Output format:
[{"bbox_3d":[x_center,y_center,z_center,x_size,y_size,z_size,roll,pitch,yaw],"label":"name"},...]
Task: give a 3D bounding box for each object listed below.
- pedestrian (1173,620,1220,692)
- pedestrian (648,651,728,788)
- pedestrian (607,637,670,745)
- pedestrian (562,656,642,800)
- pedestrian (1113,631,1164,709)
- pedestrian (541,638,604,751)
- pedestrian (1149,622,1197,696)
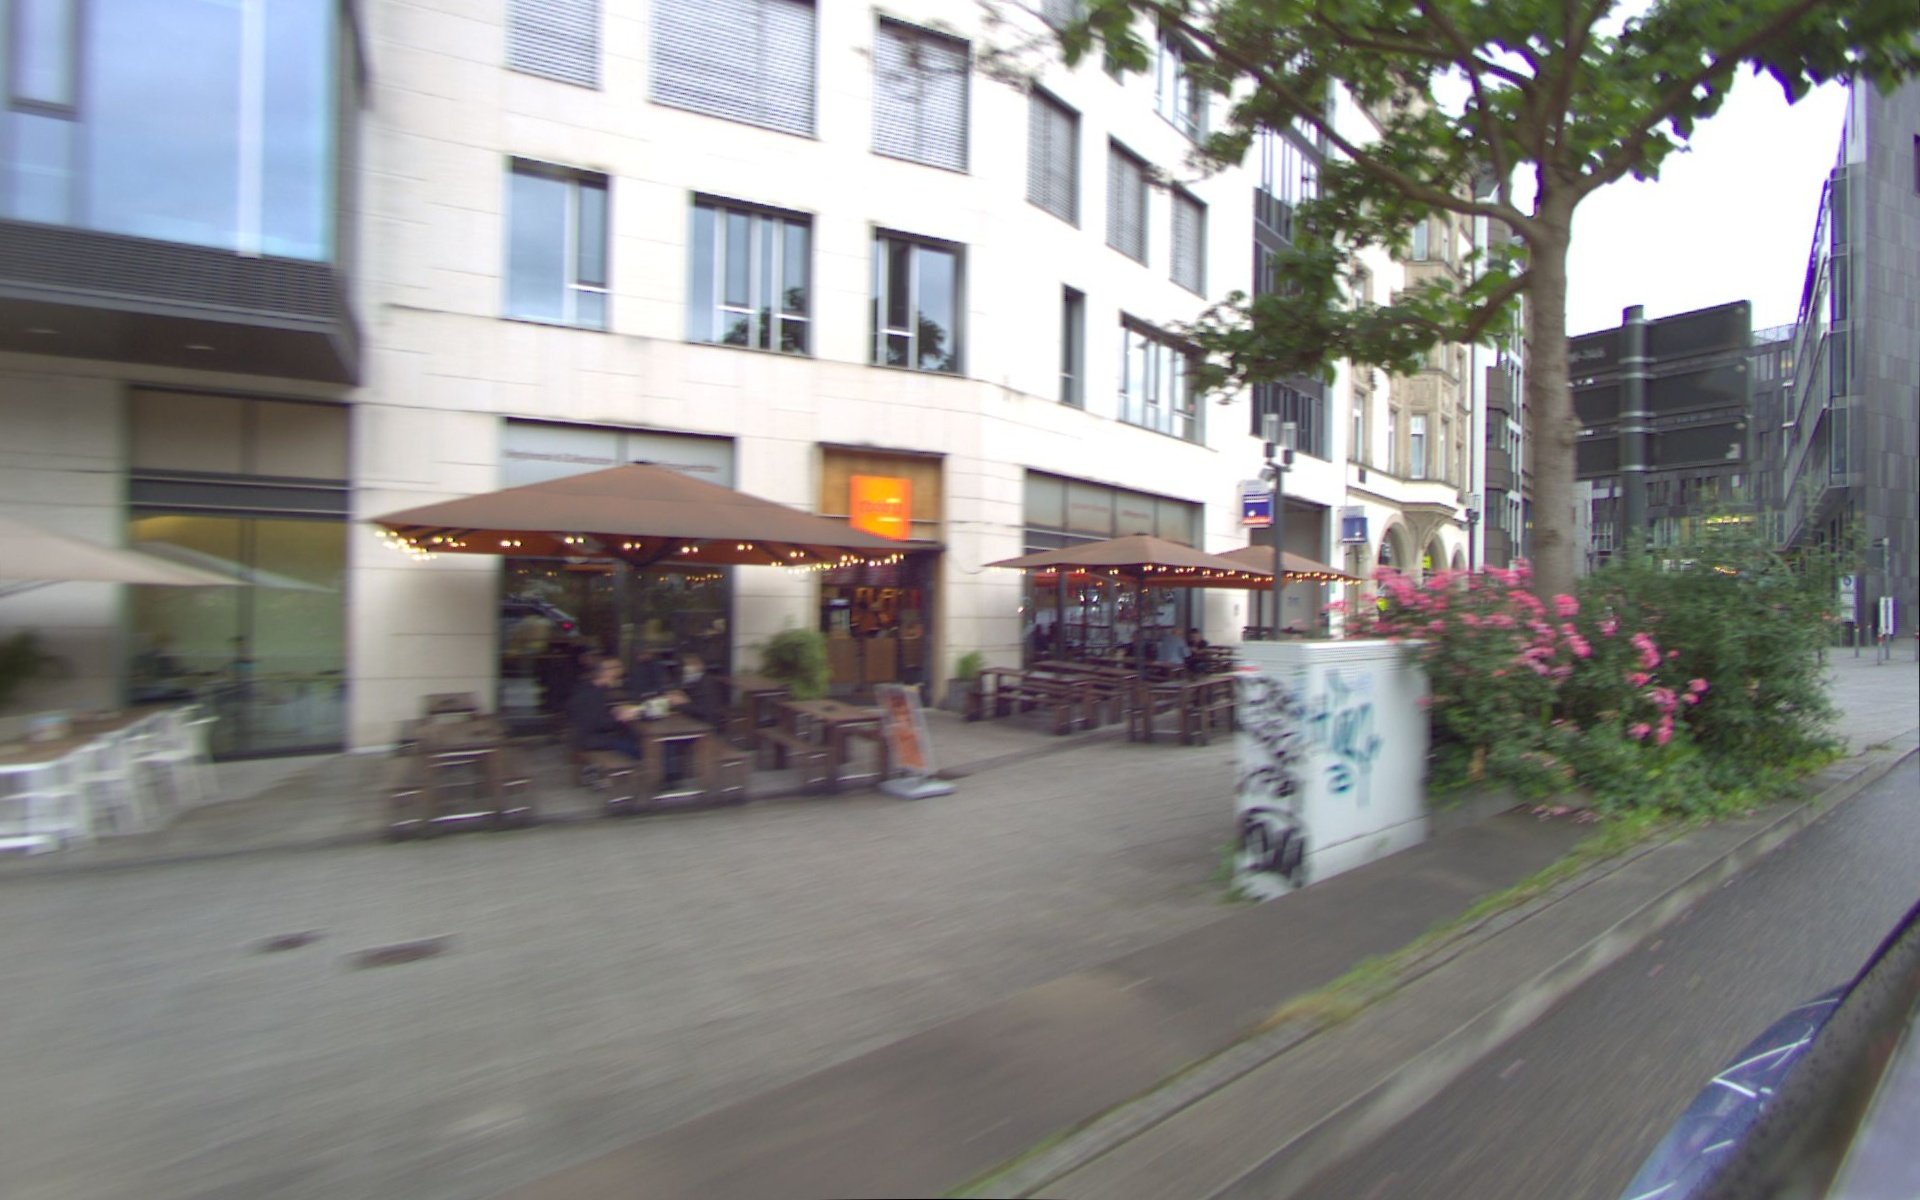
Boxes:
[{"bbox_3d":[4.572,1.074,19.535,0.626,1.343,0.626,-3,-3,41],"label":"pedestrian"},{"bbox_3d":[-2.897,1.231,10.731,0.623,1.343,0.820,-1,-2,-29],"label":"pedestrian"},{"bbox_3d":[-4.212,1.167,13.249,0.623,1.343,0.820,-1,-2,-29],"label":"pedestrian"},{"bbox_3d":[-3.612,1.249,10.193,0.623,1.343,0.820,-1,-2,-29],"label":"pedestrian"},{"bbox_3d":[3.189,1.232,18.041,0.626,1.343,0.626,-3,-3,41],"label":"pedestrian"},{"bbox_3d":[-4.892,1.168,12.745,0.623,1.343,0.820,-1,-2,-29],"label":"pedestrian"},{"bbox_3d":[3.980,1.091,18.919,0.626,1.343,0.626,-3,-3,41],"label":"pedestrian"}]
